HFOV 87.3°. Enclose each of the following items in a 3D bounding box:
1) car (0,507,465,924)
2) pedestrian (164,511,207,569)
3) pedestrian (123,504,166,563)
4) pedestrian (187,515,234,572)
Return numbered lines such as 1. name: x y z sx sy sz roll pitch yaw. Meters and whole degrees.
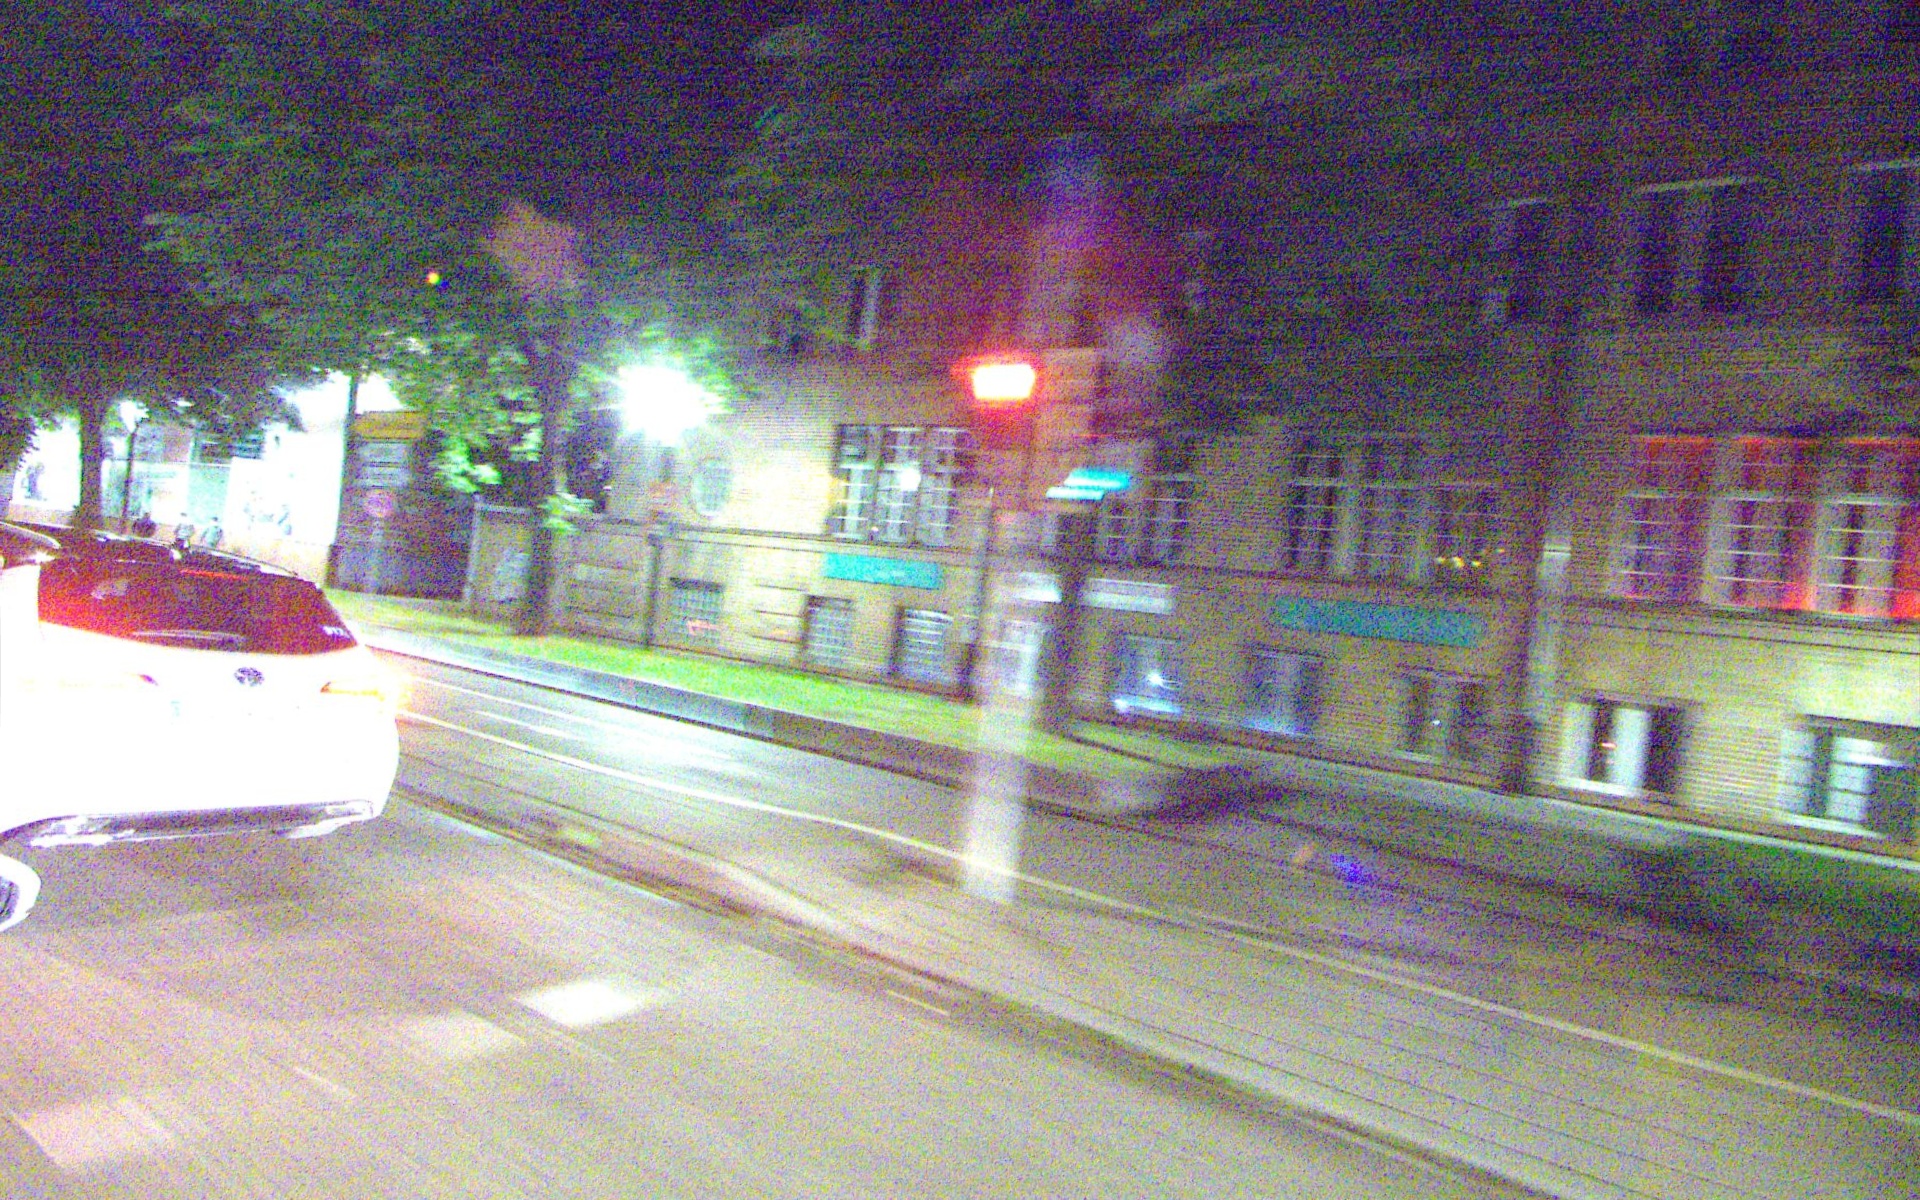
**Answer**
1. car: -4.713 0.300 5.217 4.140 1.451 1.734 7 -3 31
2. pedestrian: -25.855 -2.013 33.577 0.892 1.791 0.739 7 1 32
3. pedestrian: -26.655 -2.171 32.885 0.892 1.791 0.715 7 1 32
4. pedestrian: -25.859 -1.948 34.728 0.892 1.791 0.902 7 0 31
